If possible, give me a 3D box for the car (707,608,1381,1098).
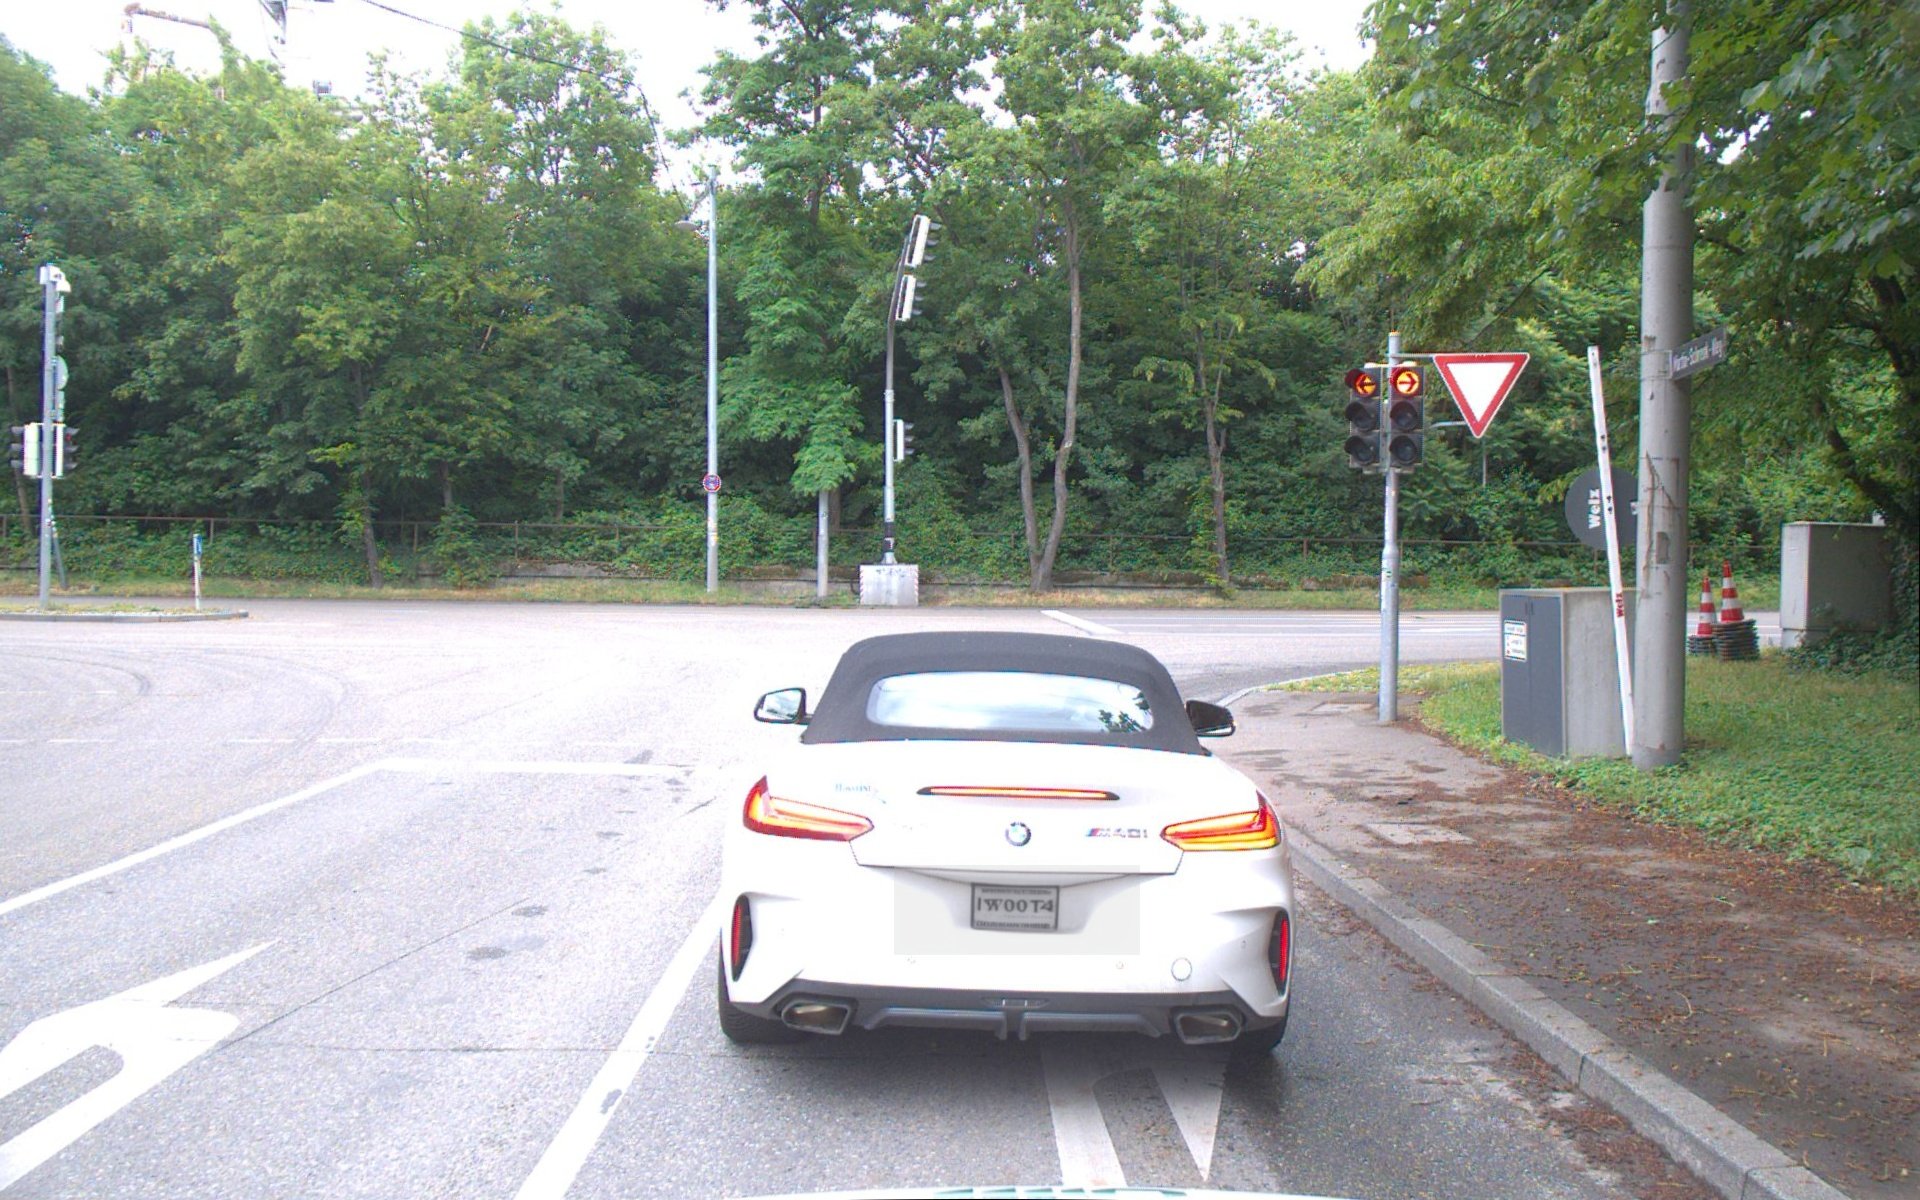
[{"bbox_3d":[0.142,0.723,6.455,1.791,1.279,3.997,2,-1,-3],"label":"car"}]
